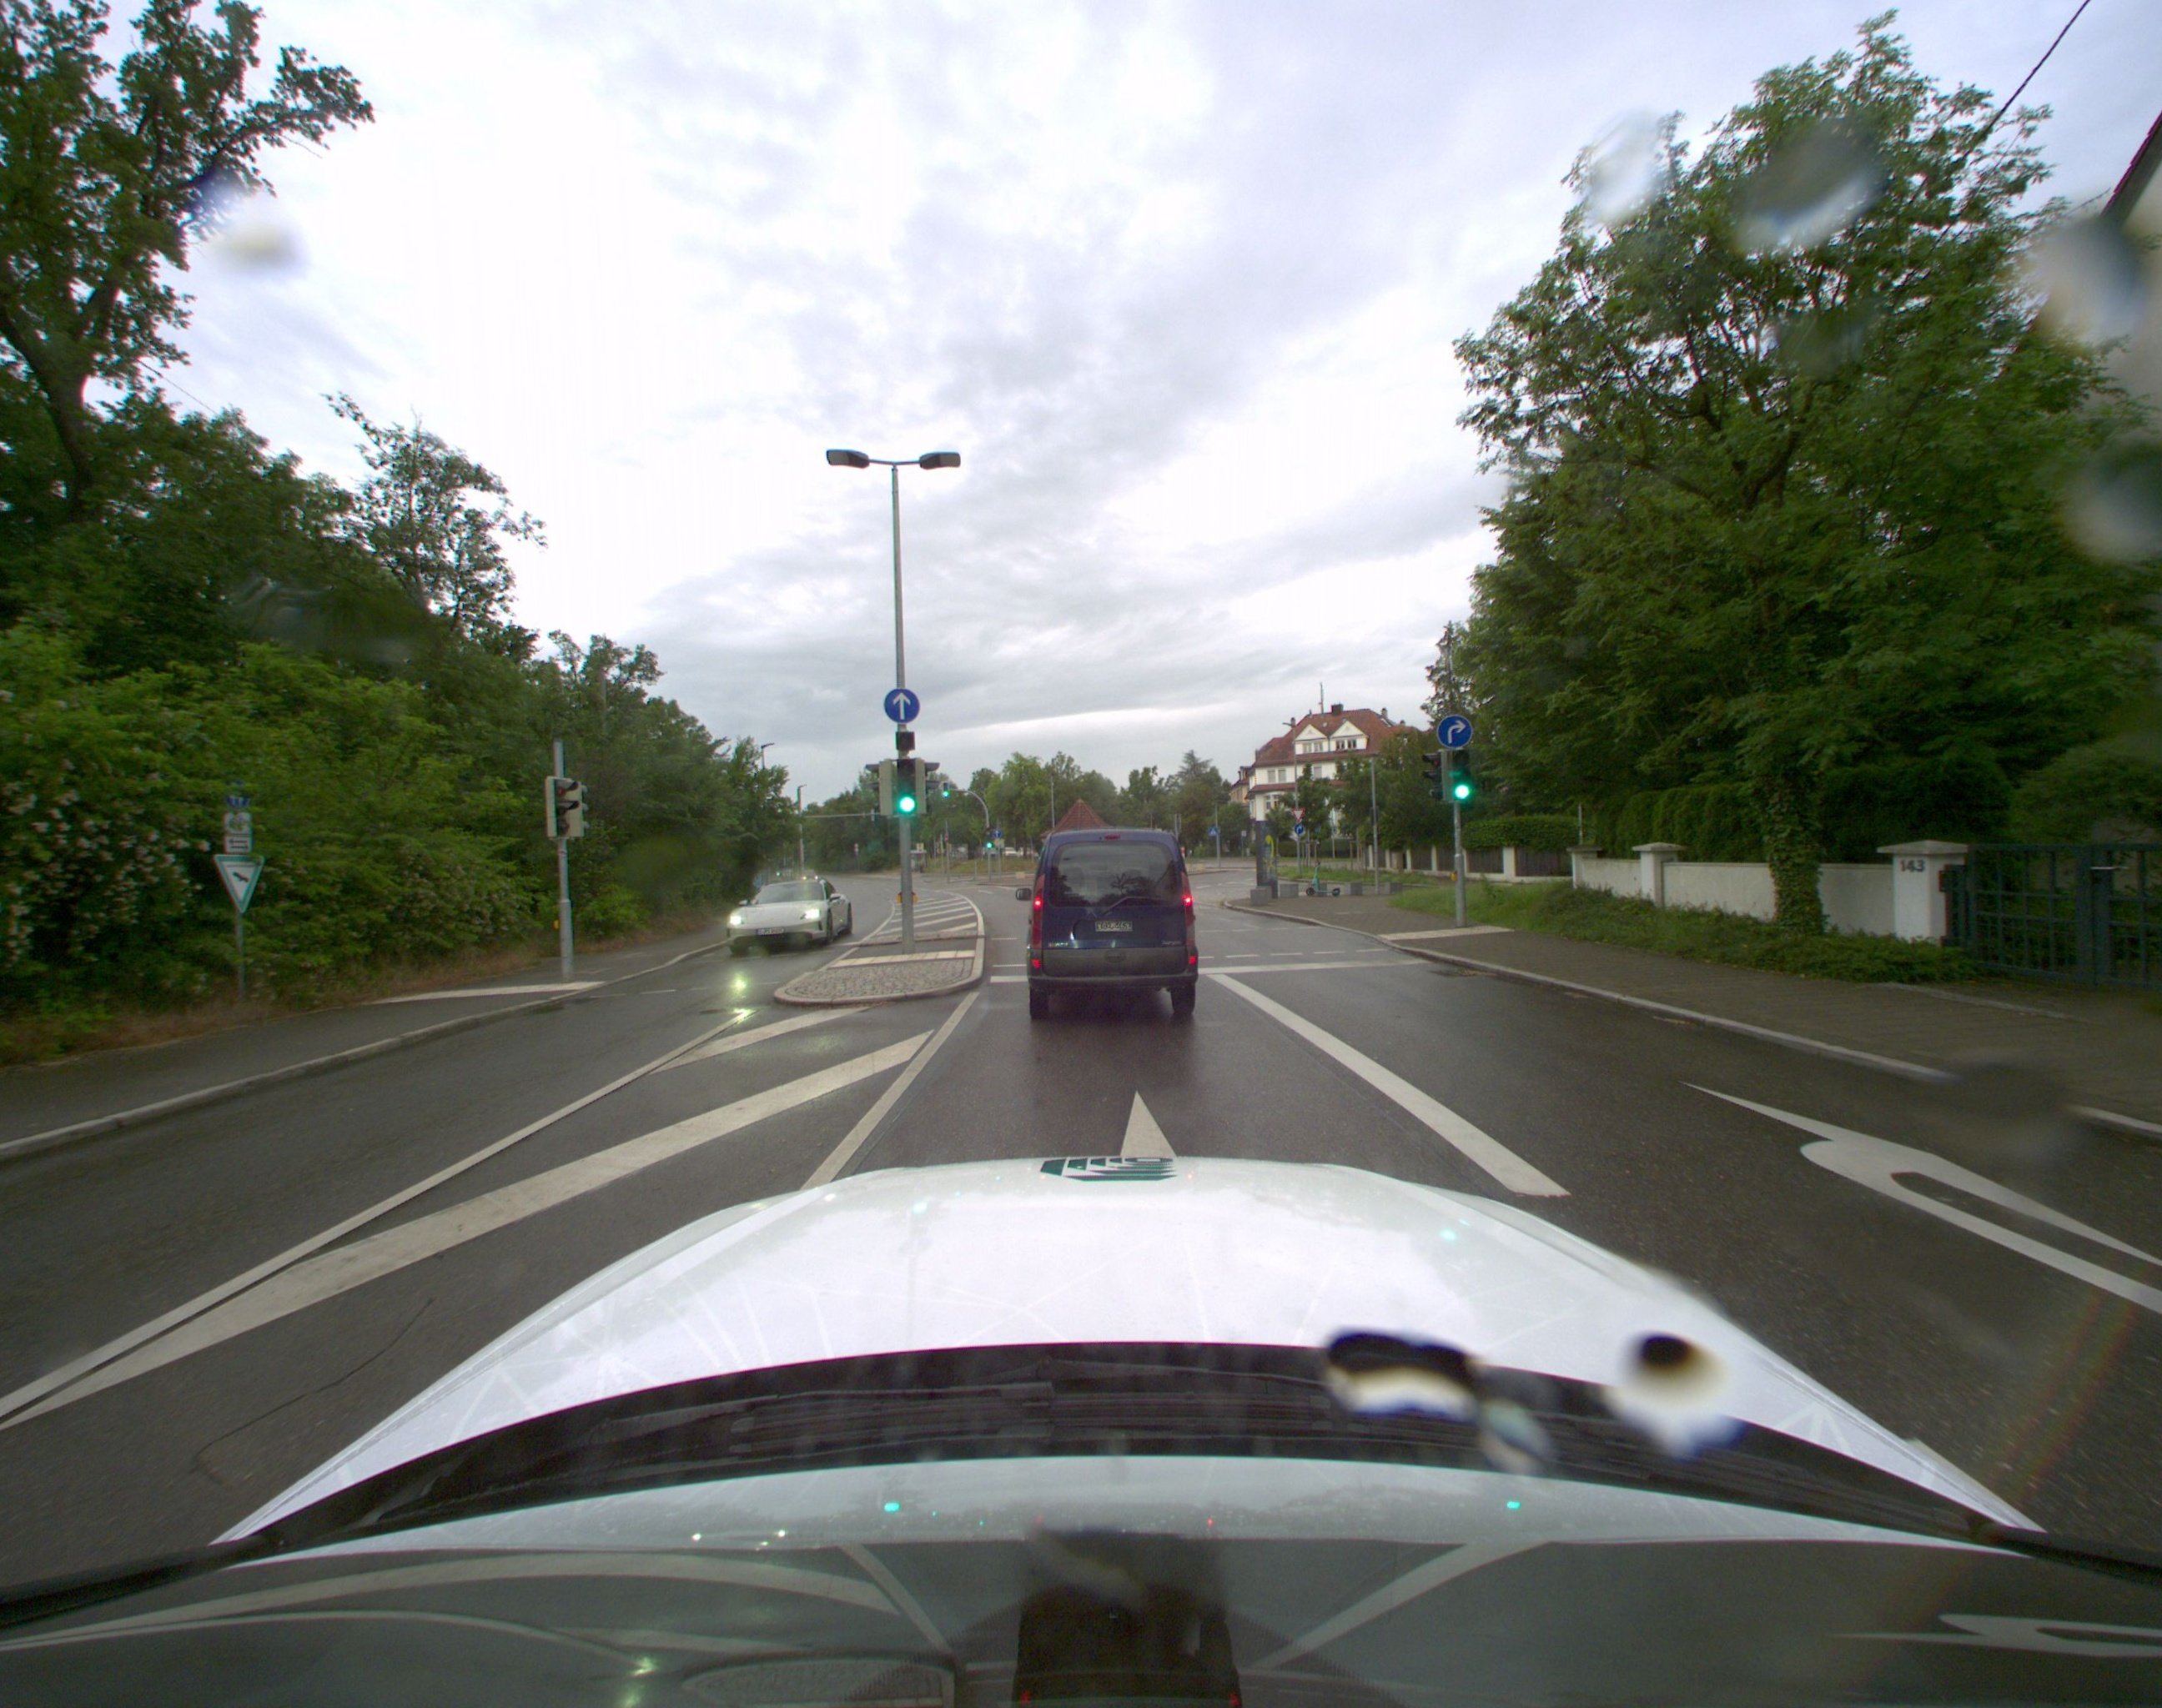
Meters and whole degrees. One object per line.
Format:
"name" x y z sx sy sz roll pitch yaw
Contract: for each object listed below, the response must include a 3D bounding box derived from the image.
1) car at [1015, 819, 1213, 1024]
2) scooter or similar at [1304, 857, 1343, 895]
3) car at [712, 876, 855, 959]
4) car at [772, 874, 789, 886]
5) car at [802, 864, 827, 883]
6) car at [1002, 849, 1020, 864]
"car" 0.300 0.606 9.263 1.726 1.786 3.999 -1 0 0
"scooter or similar" 8.099 0.739 27.208 1.145 1.219 0.406 -2 -2 1
"car" -6.299 1.272 17.798 1.993 1.311 4.347 -5 0 -8
"car" -40.893 3.484 110.926 1.999 1.585 3.976 -1 -1 -18
"car" -29.697 2.163 90.677 2.005 2.014 3.963 -1 -1 -28
"car" -9.397 0.371 109.867 1.986 1.812 4.001 -1 -1 2
